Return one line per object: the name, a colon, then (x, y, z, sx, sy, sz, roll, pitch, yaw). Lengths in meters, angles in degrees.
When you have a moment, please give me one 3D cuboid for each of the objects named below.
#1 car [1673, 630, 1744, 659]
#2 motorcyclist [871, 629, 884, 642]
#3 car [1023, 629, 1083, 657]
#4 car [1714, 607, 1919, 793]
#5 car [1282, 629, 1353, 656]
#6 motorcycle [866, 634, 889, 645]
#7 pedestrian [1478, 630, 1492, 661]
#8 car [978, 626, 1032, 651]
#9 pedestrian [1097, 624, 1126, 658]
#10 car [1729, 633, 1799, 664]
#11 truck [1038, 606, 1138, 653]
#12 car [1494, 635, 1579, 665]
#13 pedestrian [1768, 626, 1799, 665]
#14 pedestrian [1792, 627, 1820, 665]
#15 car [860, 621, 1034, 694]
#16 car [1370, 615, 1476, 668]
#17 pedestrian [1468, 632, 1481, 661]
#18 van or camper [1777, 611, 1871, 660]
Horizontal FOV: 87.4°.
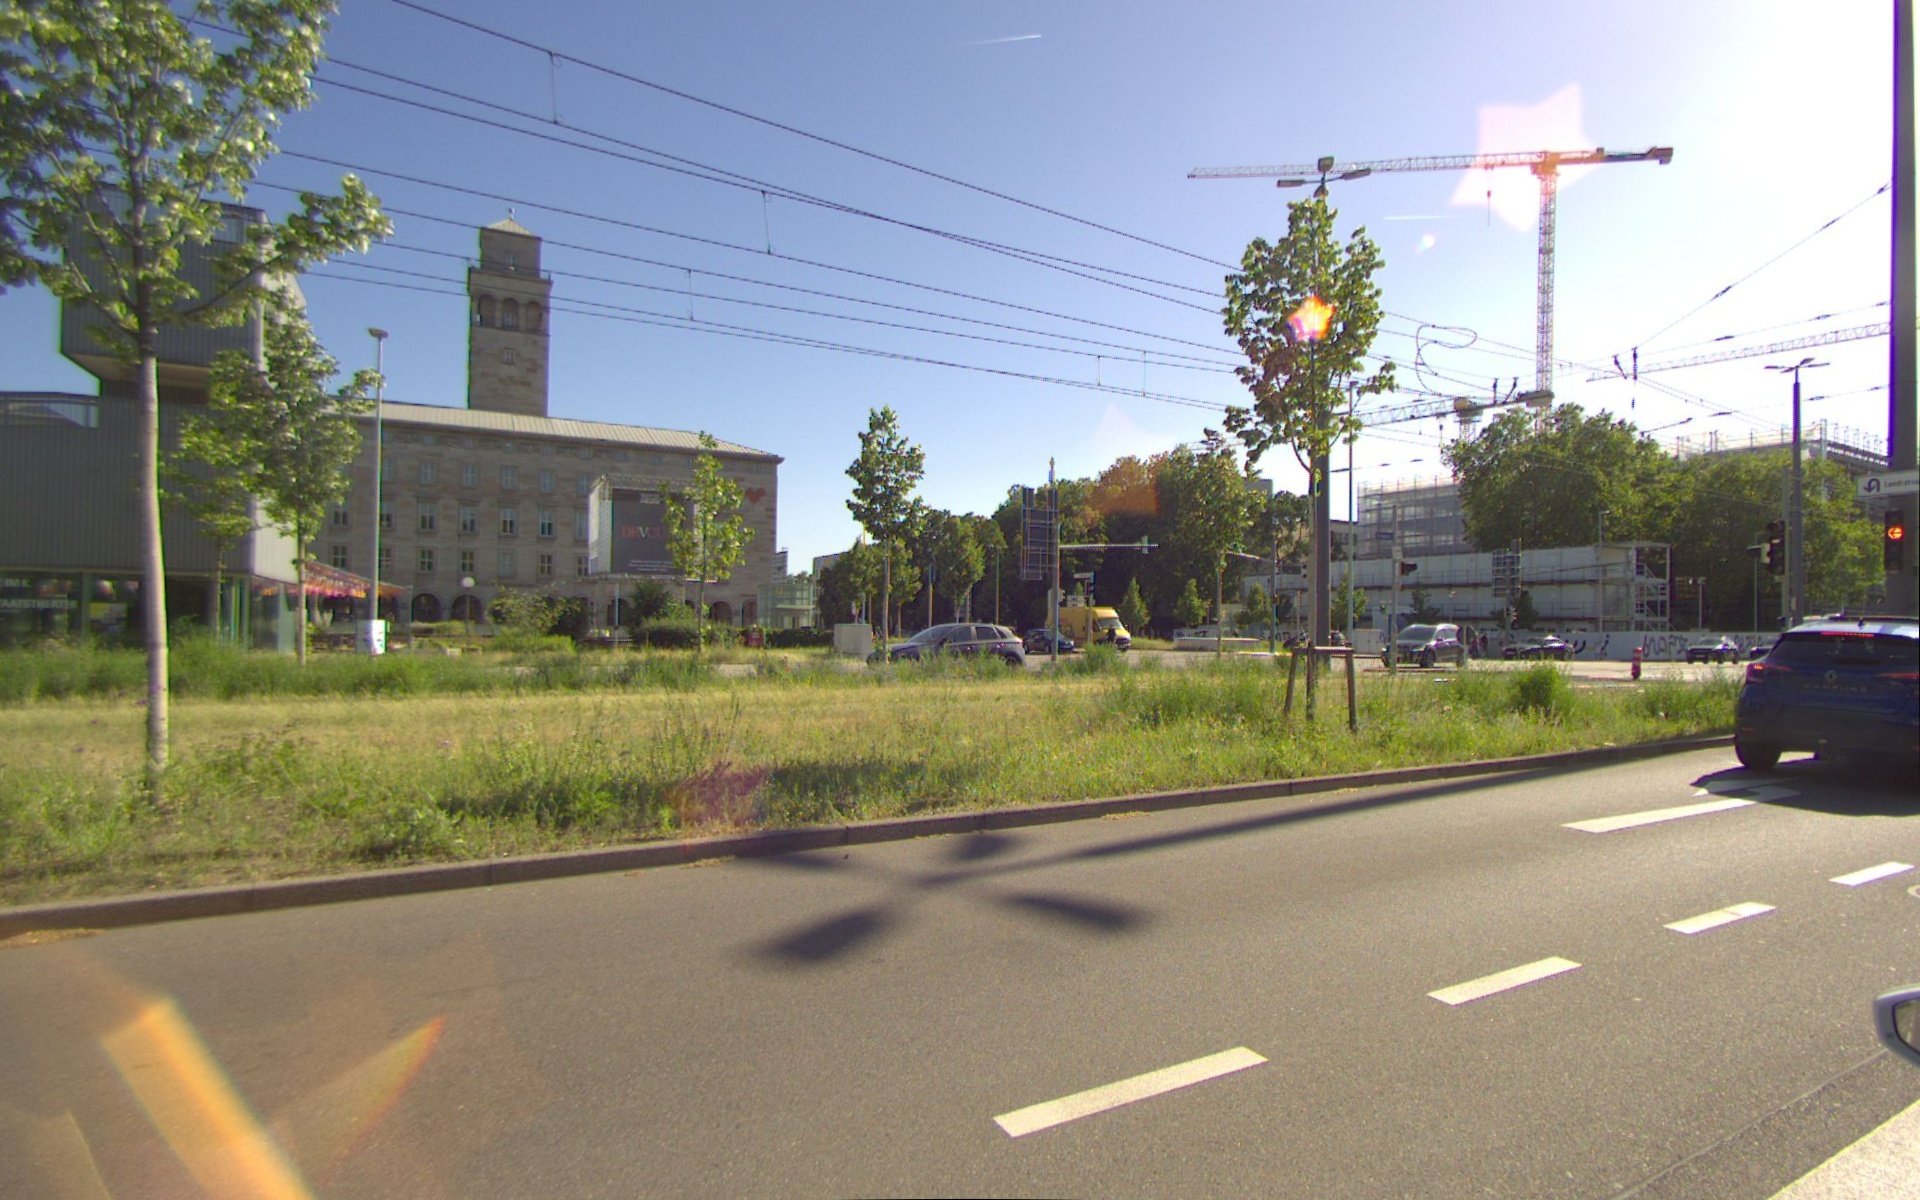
car: (47.009, 2.780, 63.046, 4.507, 1.730, 1.984, 2, -1, -31)
motorcyclist: (-7.150, 3.104, 86.878, 0.785, 1.096, 1.012, 2, -2, -28)
car: (5.551, 2.574, 60.645, 1.878, 1.559, 3.975, 2, -1, -25)
car: (9.922, 0.949, 10.587, 4.041, 1.609, 1.761, 2, 0, -31)
car: (23.066, 2.732, 64.962, 1.980, 1.622, 3.962, 2, -2, -34)
motorcycle: (-7.135, 3.436, 86.806, 0.784, 0.922, 3.235, 2, -2, -27)
pedestrian: (32.427, 2.797, 62.054, 0.687, 1.847, 0.595, 0, -1, 22)
car: (2.912, 2.487, 65.232, 1.878, 1.559, 3.975, 2, -1, -25)
pedestrian: (7.678, 2.068, 50.943, 0.936, 1.708, 1.186, 0, 0, -30)
car: (47.401, 2.863, 59.185, 4.320, 1.730, 1.935, 2, -1, -33)
truck: (8.025, 1.843, 64.077, 2.429, 2.829, 7.985, 1, -1, -25)
car: (33.625, 2.880, 58.735, 3.919, 1.622, 2.001, 0, -1, 15)
pedestrian: (40.193, 2.205, 49.023, 0.864, 1.847, 0.803, 1, -1, 2)
pedestrian: (41.849, 2.270, 49.689, 0.966, 1.847, 0.795, 1, -1, -33)
car: (-0.319, 1.421, 25.428, 4.040, 1.711, 1.818, 1, -1, -28)
car: (18.057, 1.595, 39.114, 3.954, 1.981, 1.861, 1, -1, -31)
pedestrian: (32.898, 2.988, 64.272, 0.687, 1.847, 0.595, 0, -1, 22)
van or camper: (54.841, 2.244, 63.706, 7.262, 2.976, 2.590, 2, -2, -33)
